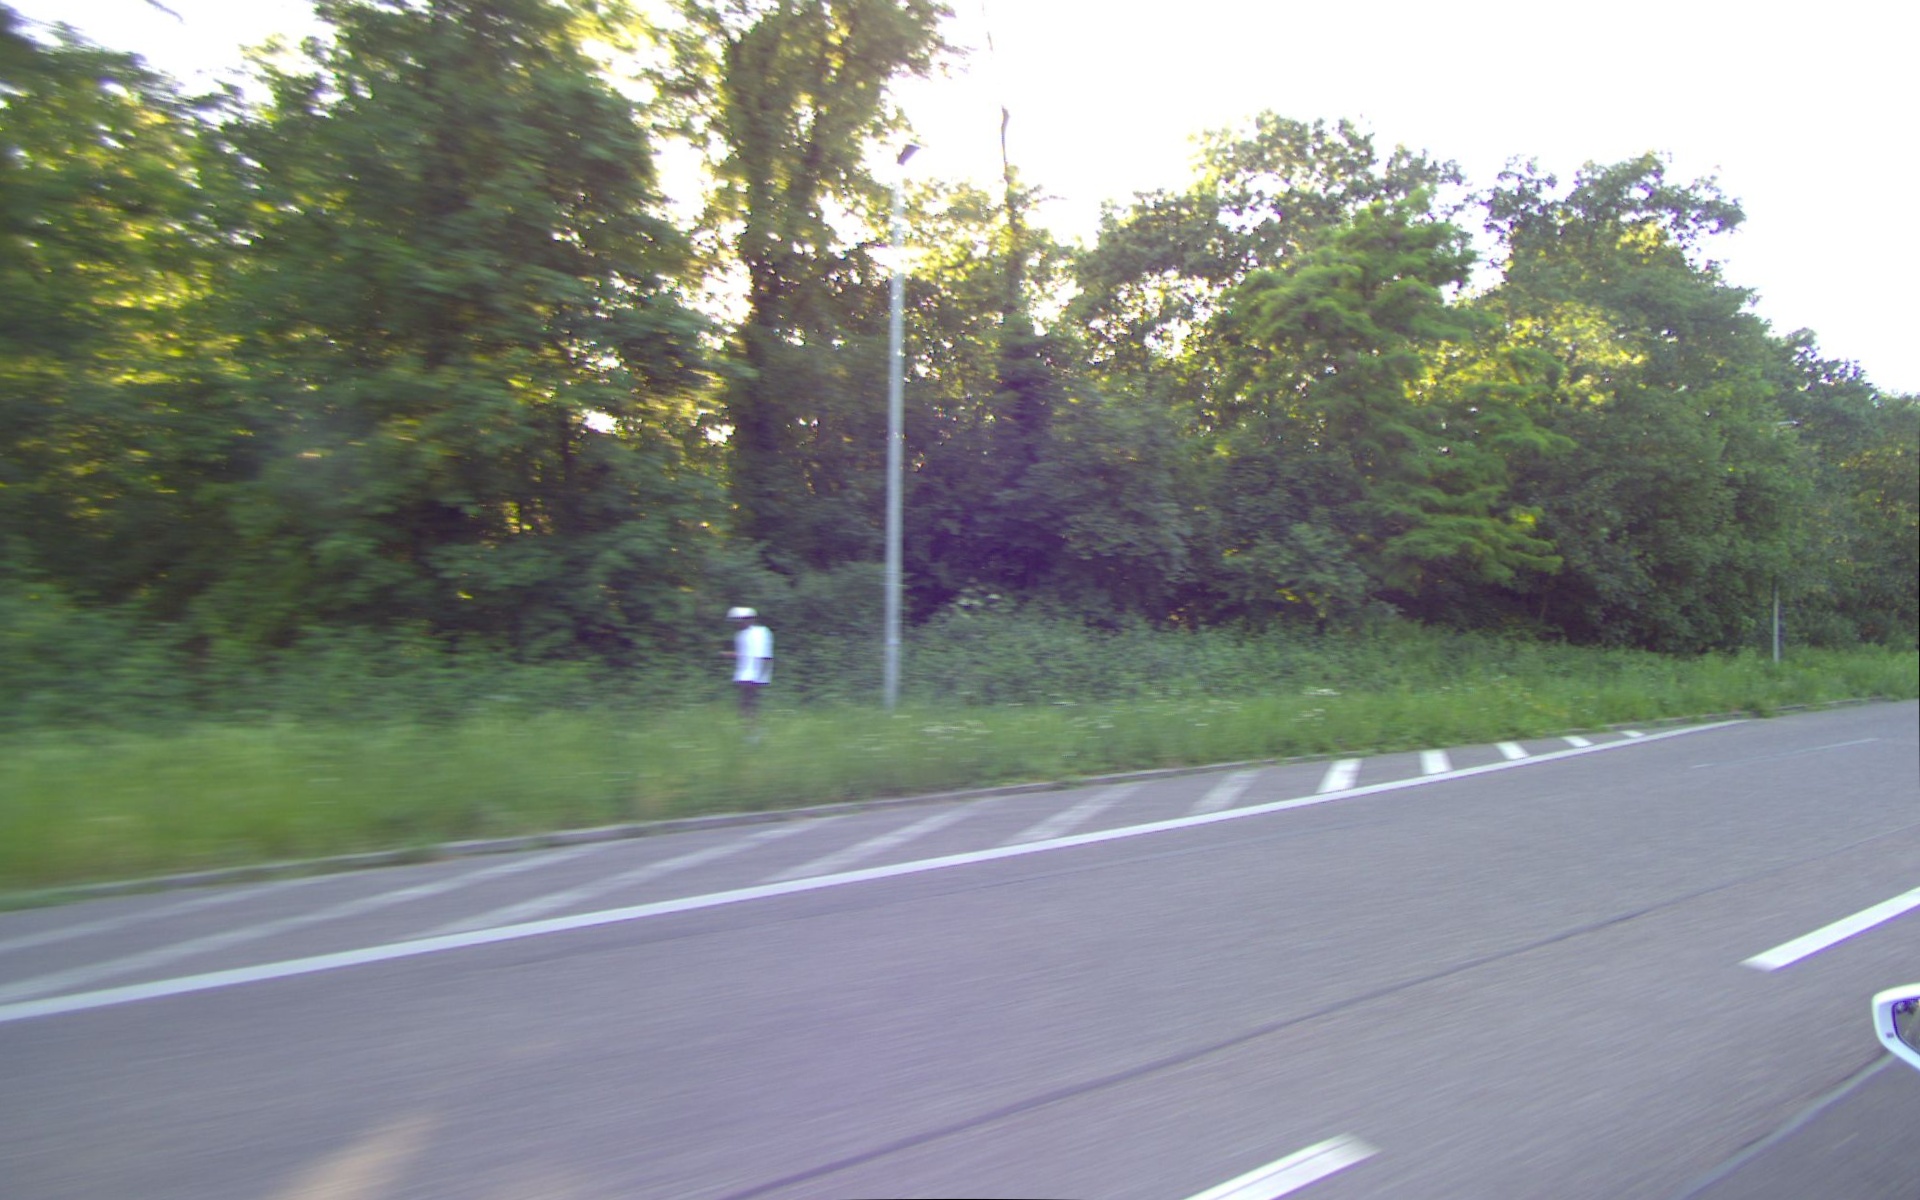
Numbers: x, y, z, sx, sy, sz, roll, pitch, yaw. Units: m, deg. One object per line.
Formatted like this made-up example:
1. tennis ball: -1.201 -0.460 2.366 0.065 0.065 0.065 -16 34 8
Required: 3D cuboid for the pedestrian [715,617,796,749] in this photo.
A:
1. pedestrian: -2.566 1.006 12.574 0.816 1.585 0.708 1 -2 -30
